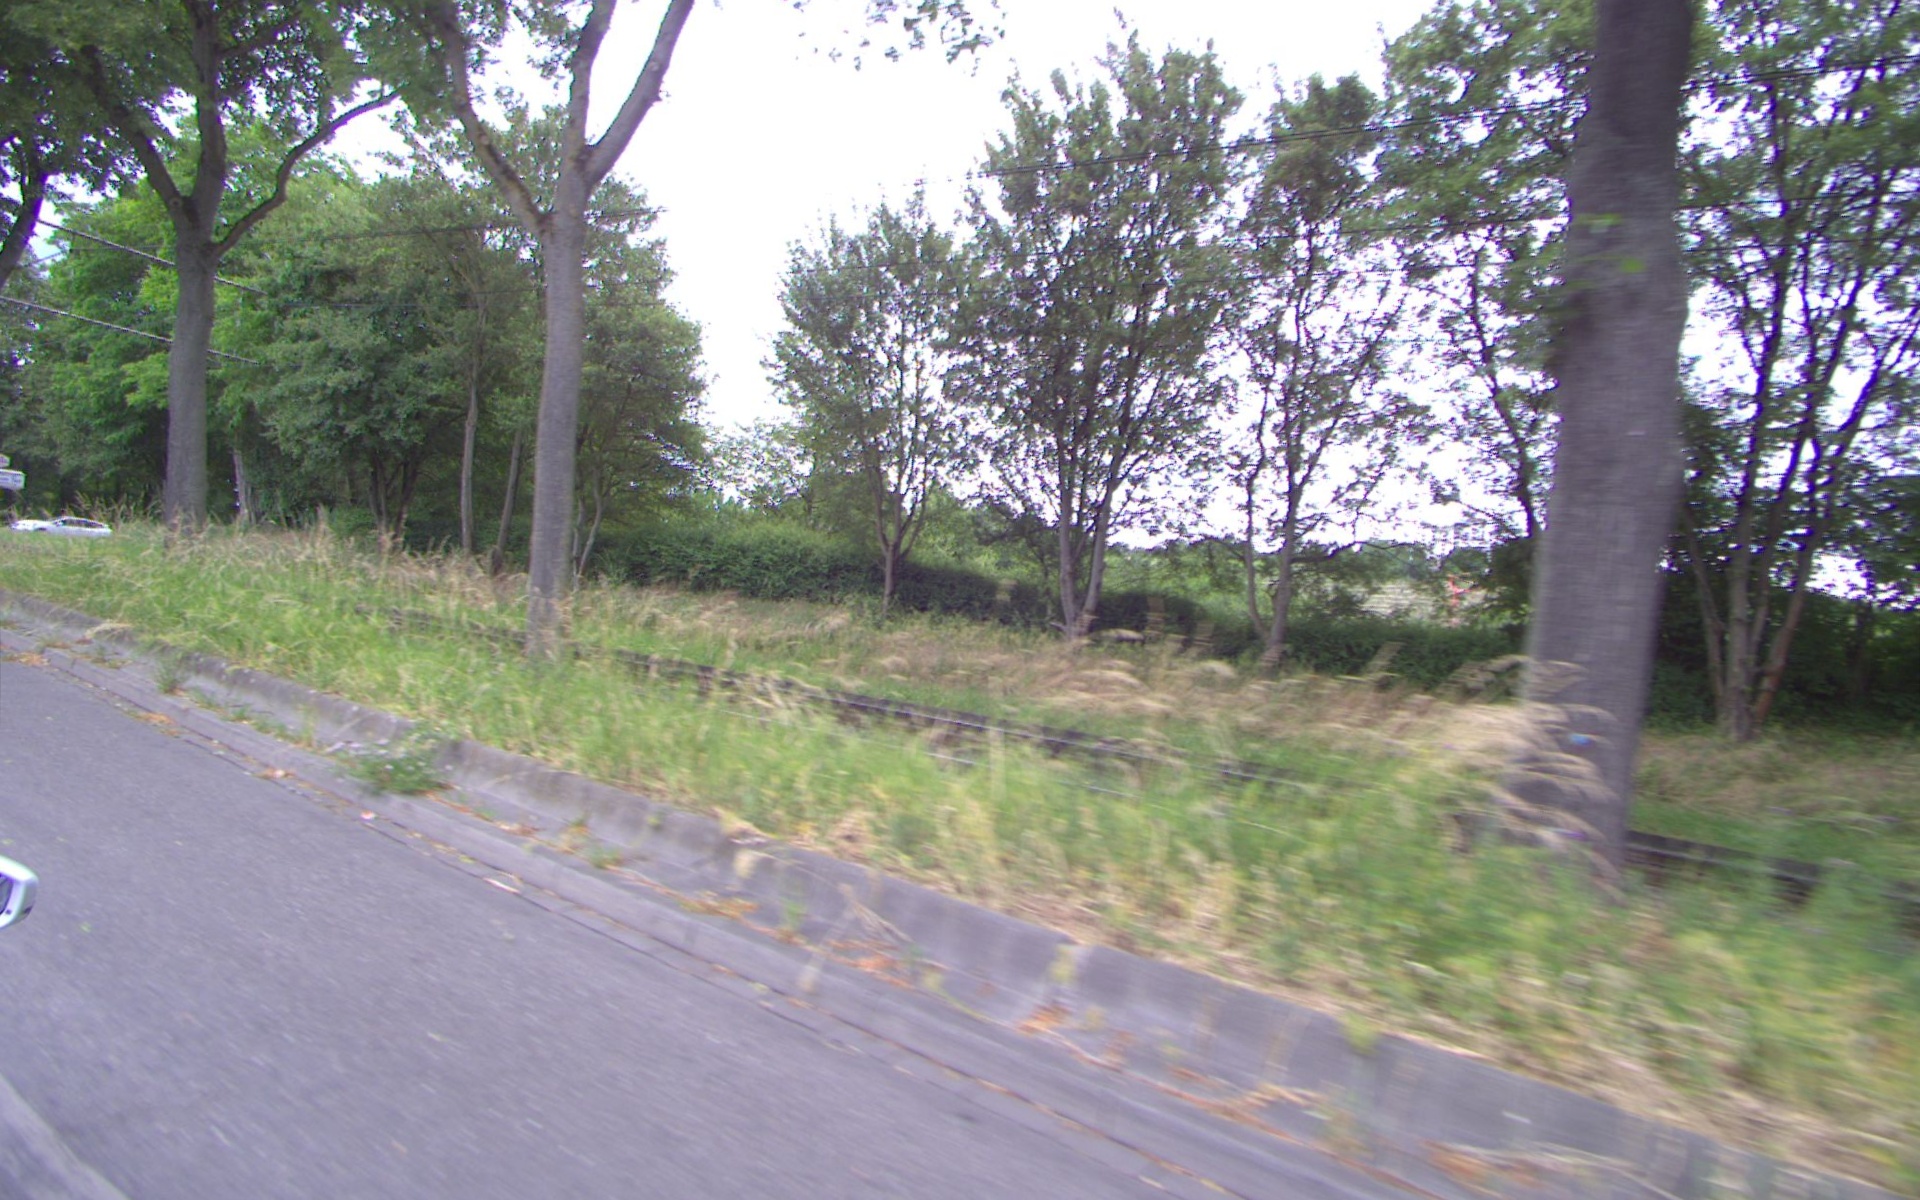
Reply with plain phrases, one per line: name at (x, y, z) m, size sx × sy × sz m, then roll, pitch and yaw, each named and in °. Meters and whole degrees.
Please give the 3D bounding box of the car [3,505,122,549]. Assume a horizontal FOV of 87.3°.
car at (-46.169, -3.733, 51.833) m, size 1.965 × 1.368 × 4.004 m, roll 7°, pitch -5°, yaw 26°
